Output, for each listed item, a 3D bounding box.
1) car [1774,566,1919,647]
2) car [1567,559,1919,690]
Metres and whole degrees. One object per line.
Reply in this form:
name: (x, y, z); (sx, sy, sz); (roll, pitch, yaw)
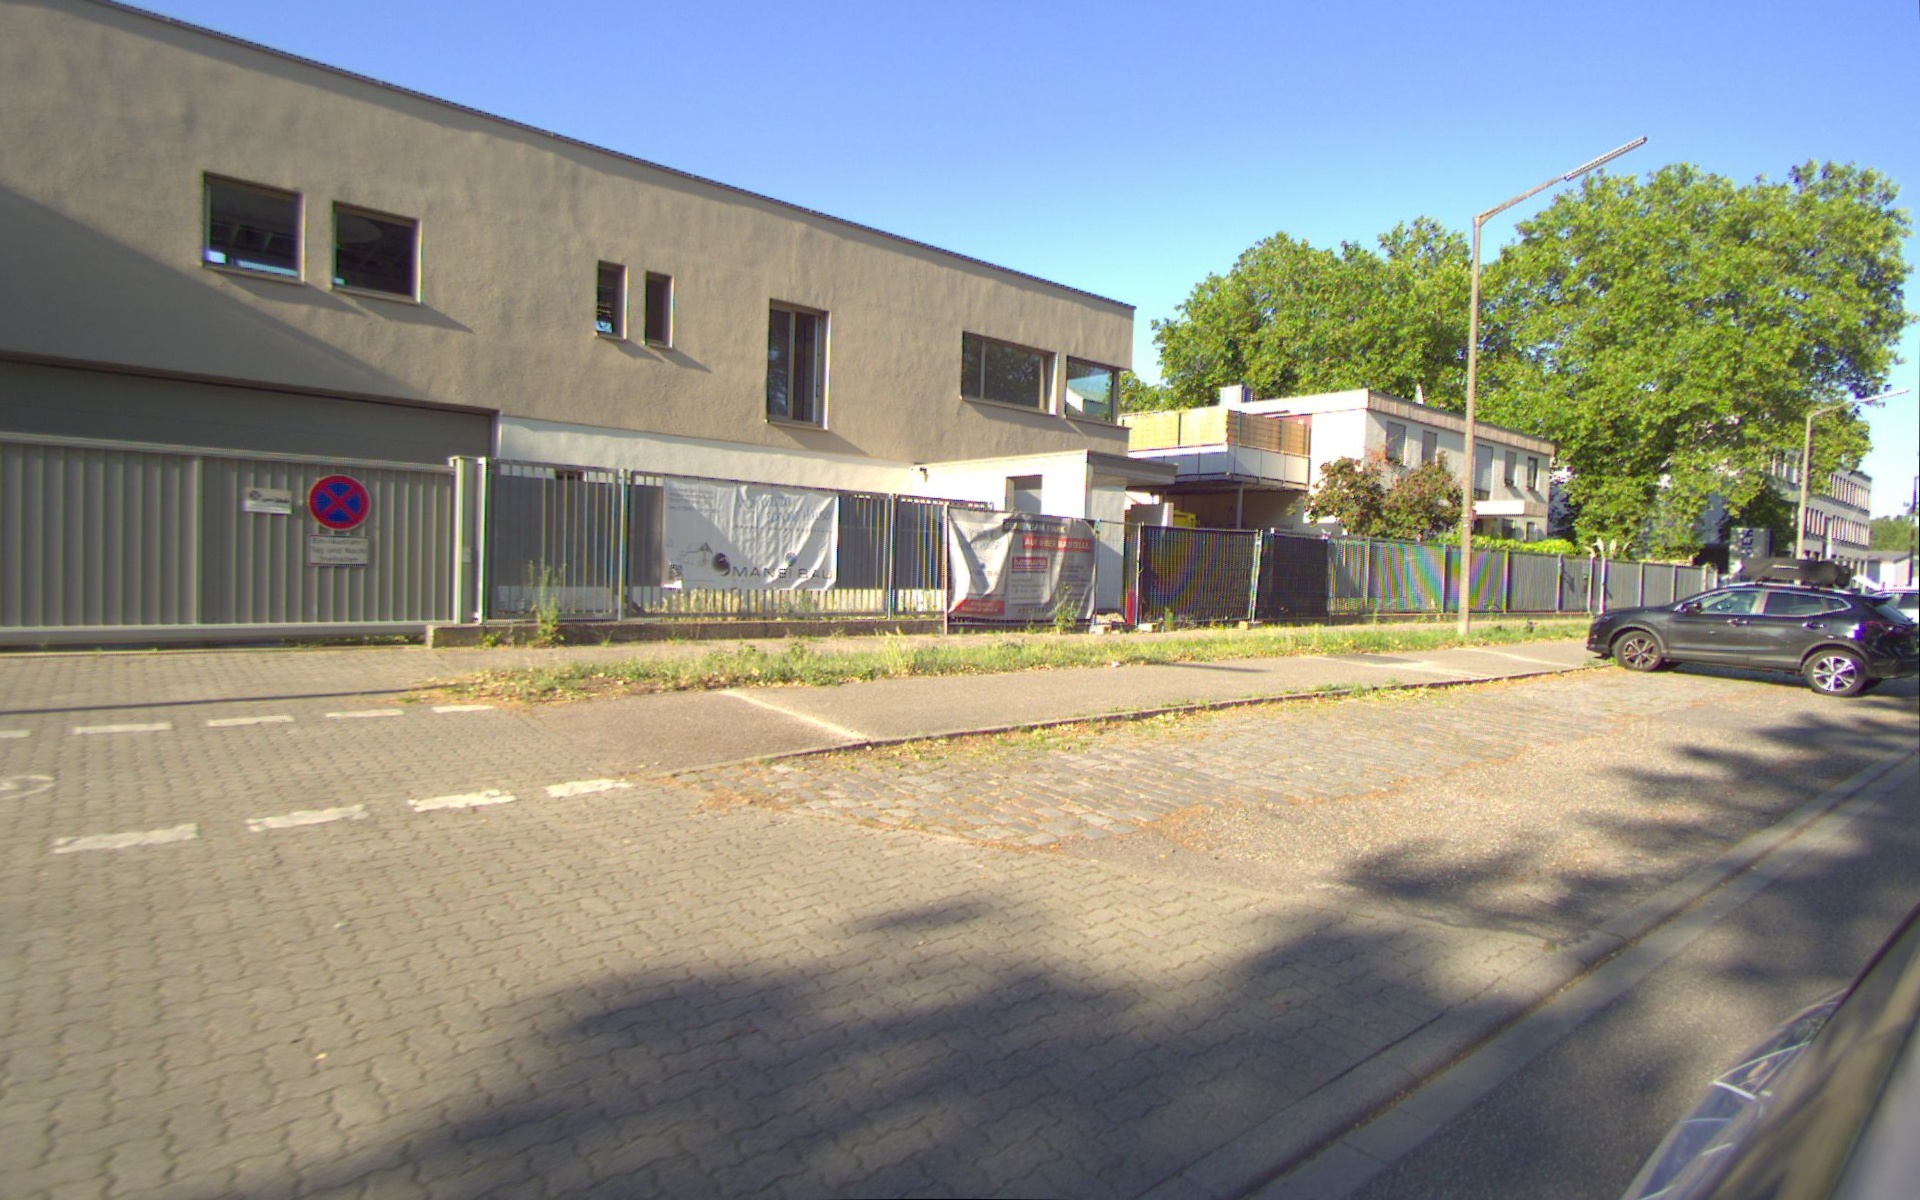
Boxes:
car: (23.439, 0.211, 25.145); (1.965, 1.731, 4.637); (0, 6, -41)
car: (12.954, 0.274, 16.652); (1.965, 1.544, 4.637); (-1, 6, -41)
